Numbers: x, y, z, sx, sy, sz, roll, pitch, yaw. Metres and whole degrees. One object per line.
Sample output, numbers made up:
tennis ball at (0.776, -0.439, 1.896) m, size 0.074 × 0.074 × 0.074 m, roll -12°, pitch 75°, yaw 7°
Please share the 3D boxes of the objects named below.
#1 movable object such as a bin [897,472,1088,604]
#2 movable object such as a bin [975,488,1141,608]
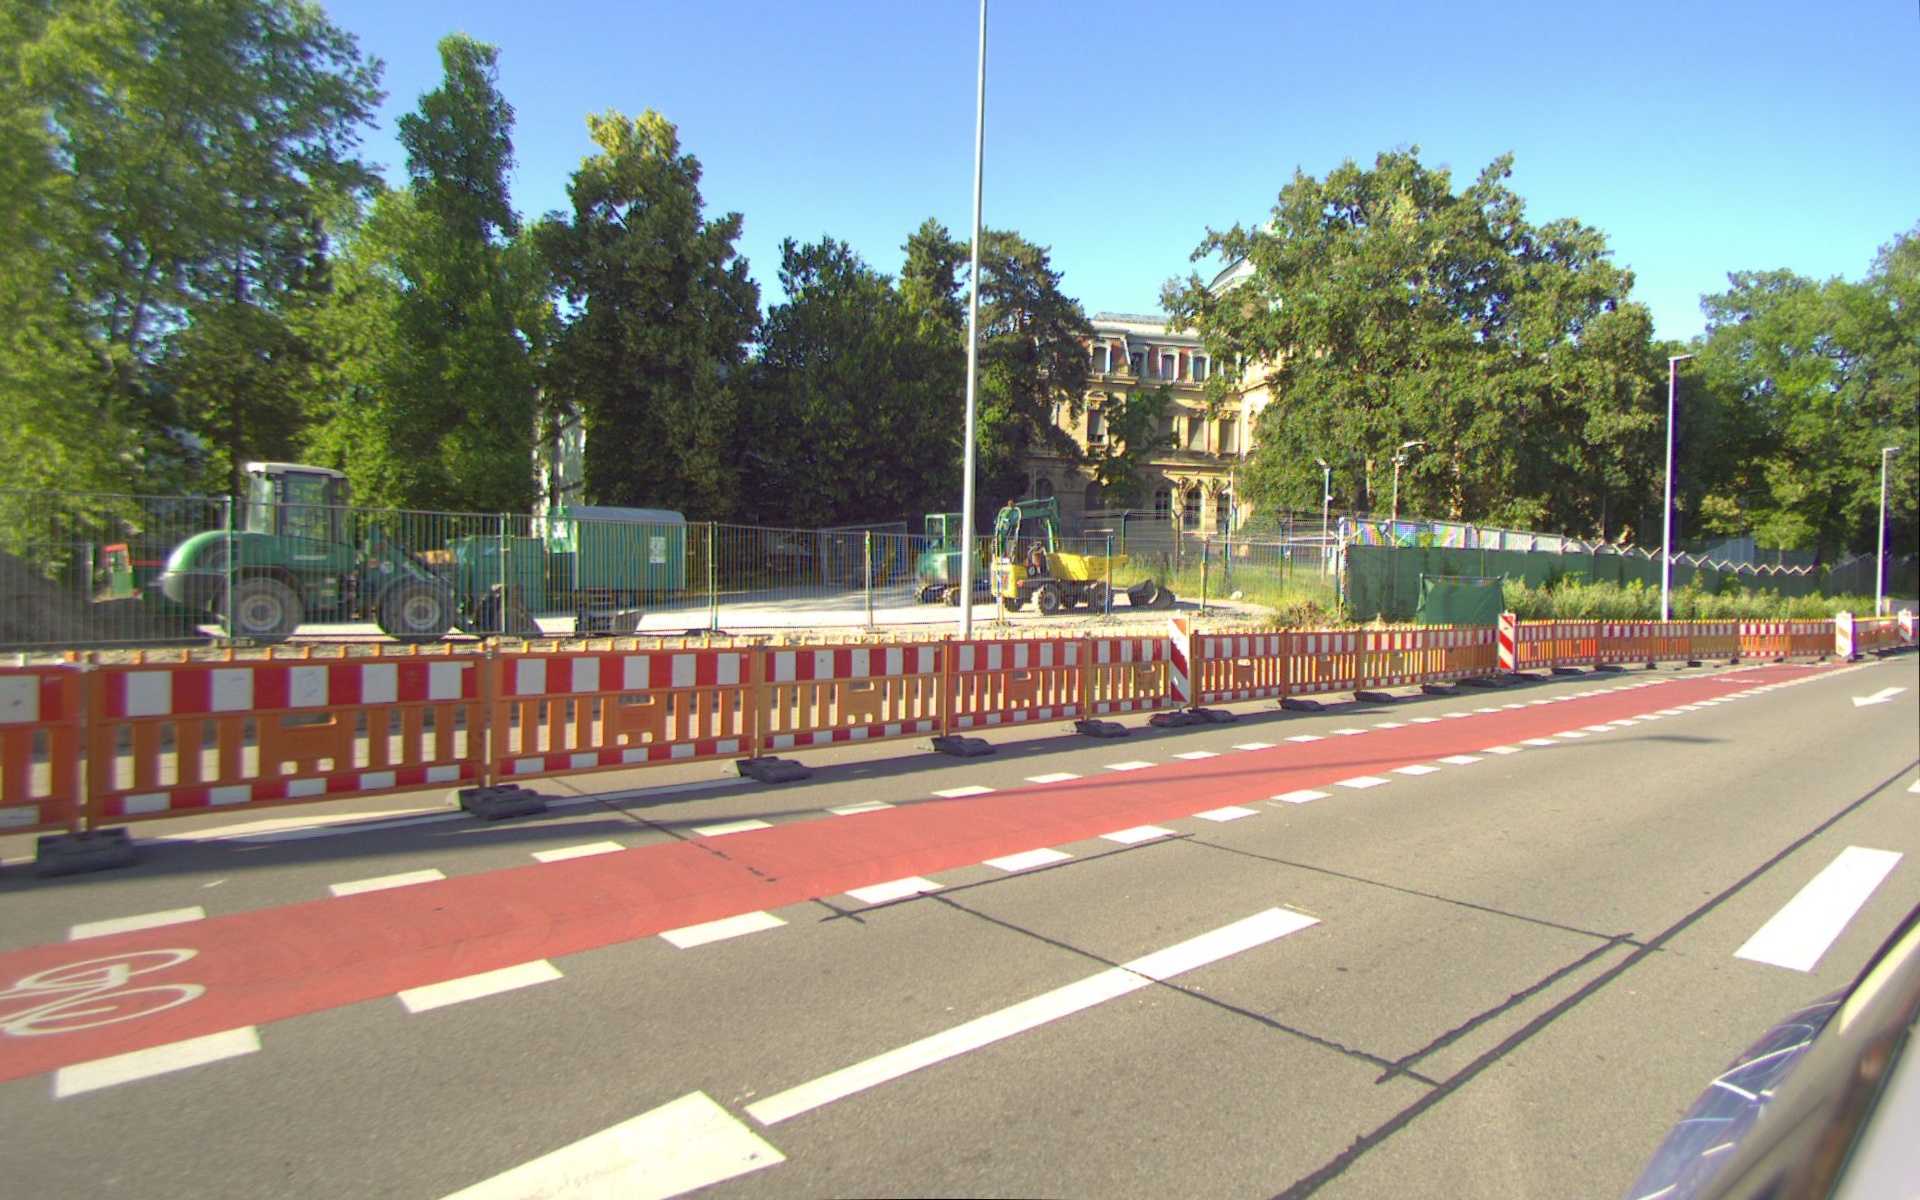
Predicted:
movable object such as a bin at (1.031, -1.735, 30.246) m, size 5.396 × 3.601 × 2.283 m, roll 0°, pitch 1°, yaw -37°
movable object such as a bin at (2.600, -1.295, 26.597) m, size 3.923 × 2.940 × 2.001 m, roll 0°, pitch 1°, yaw -34°
